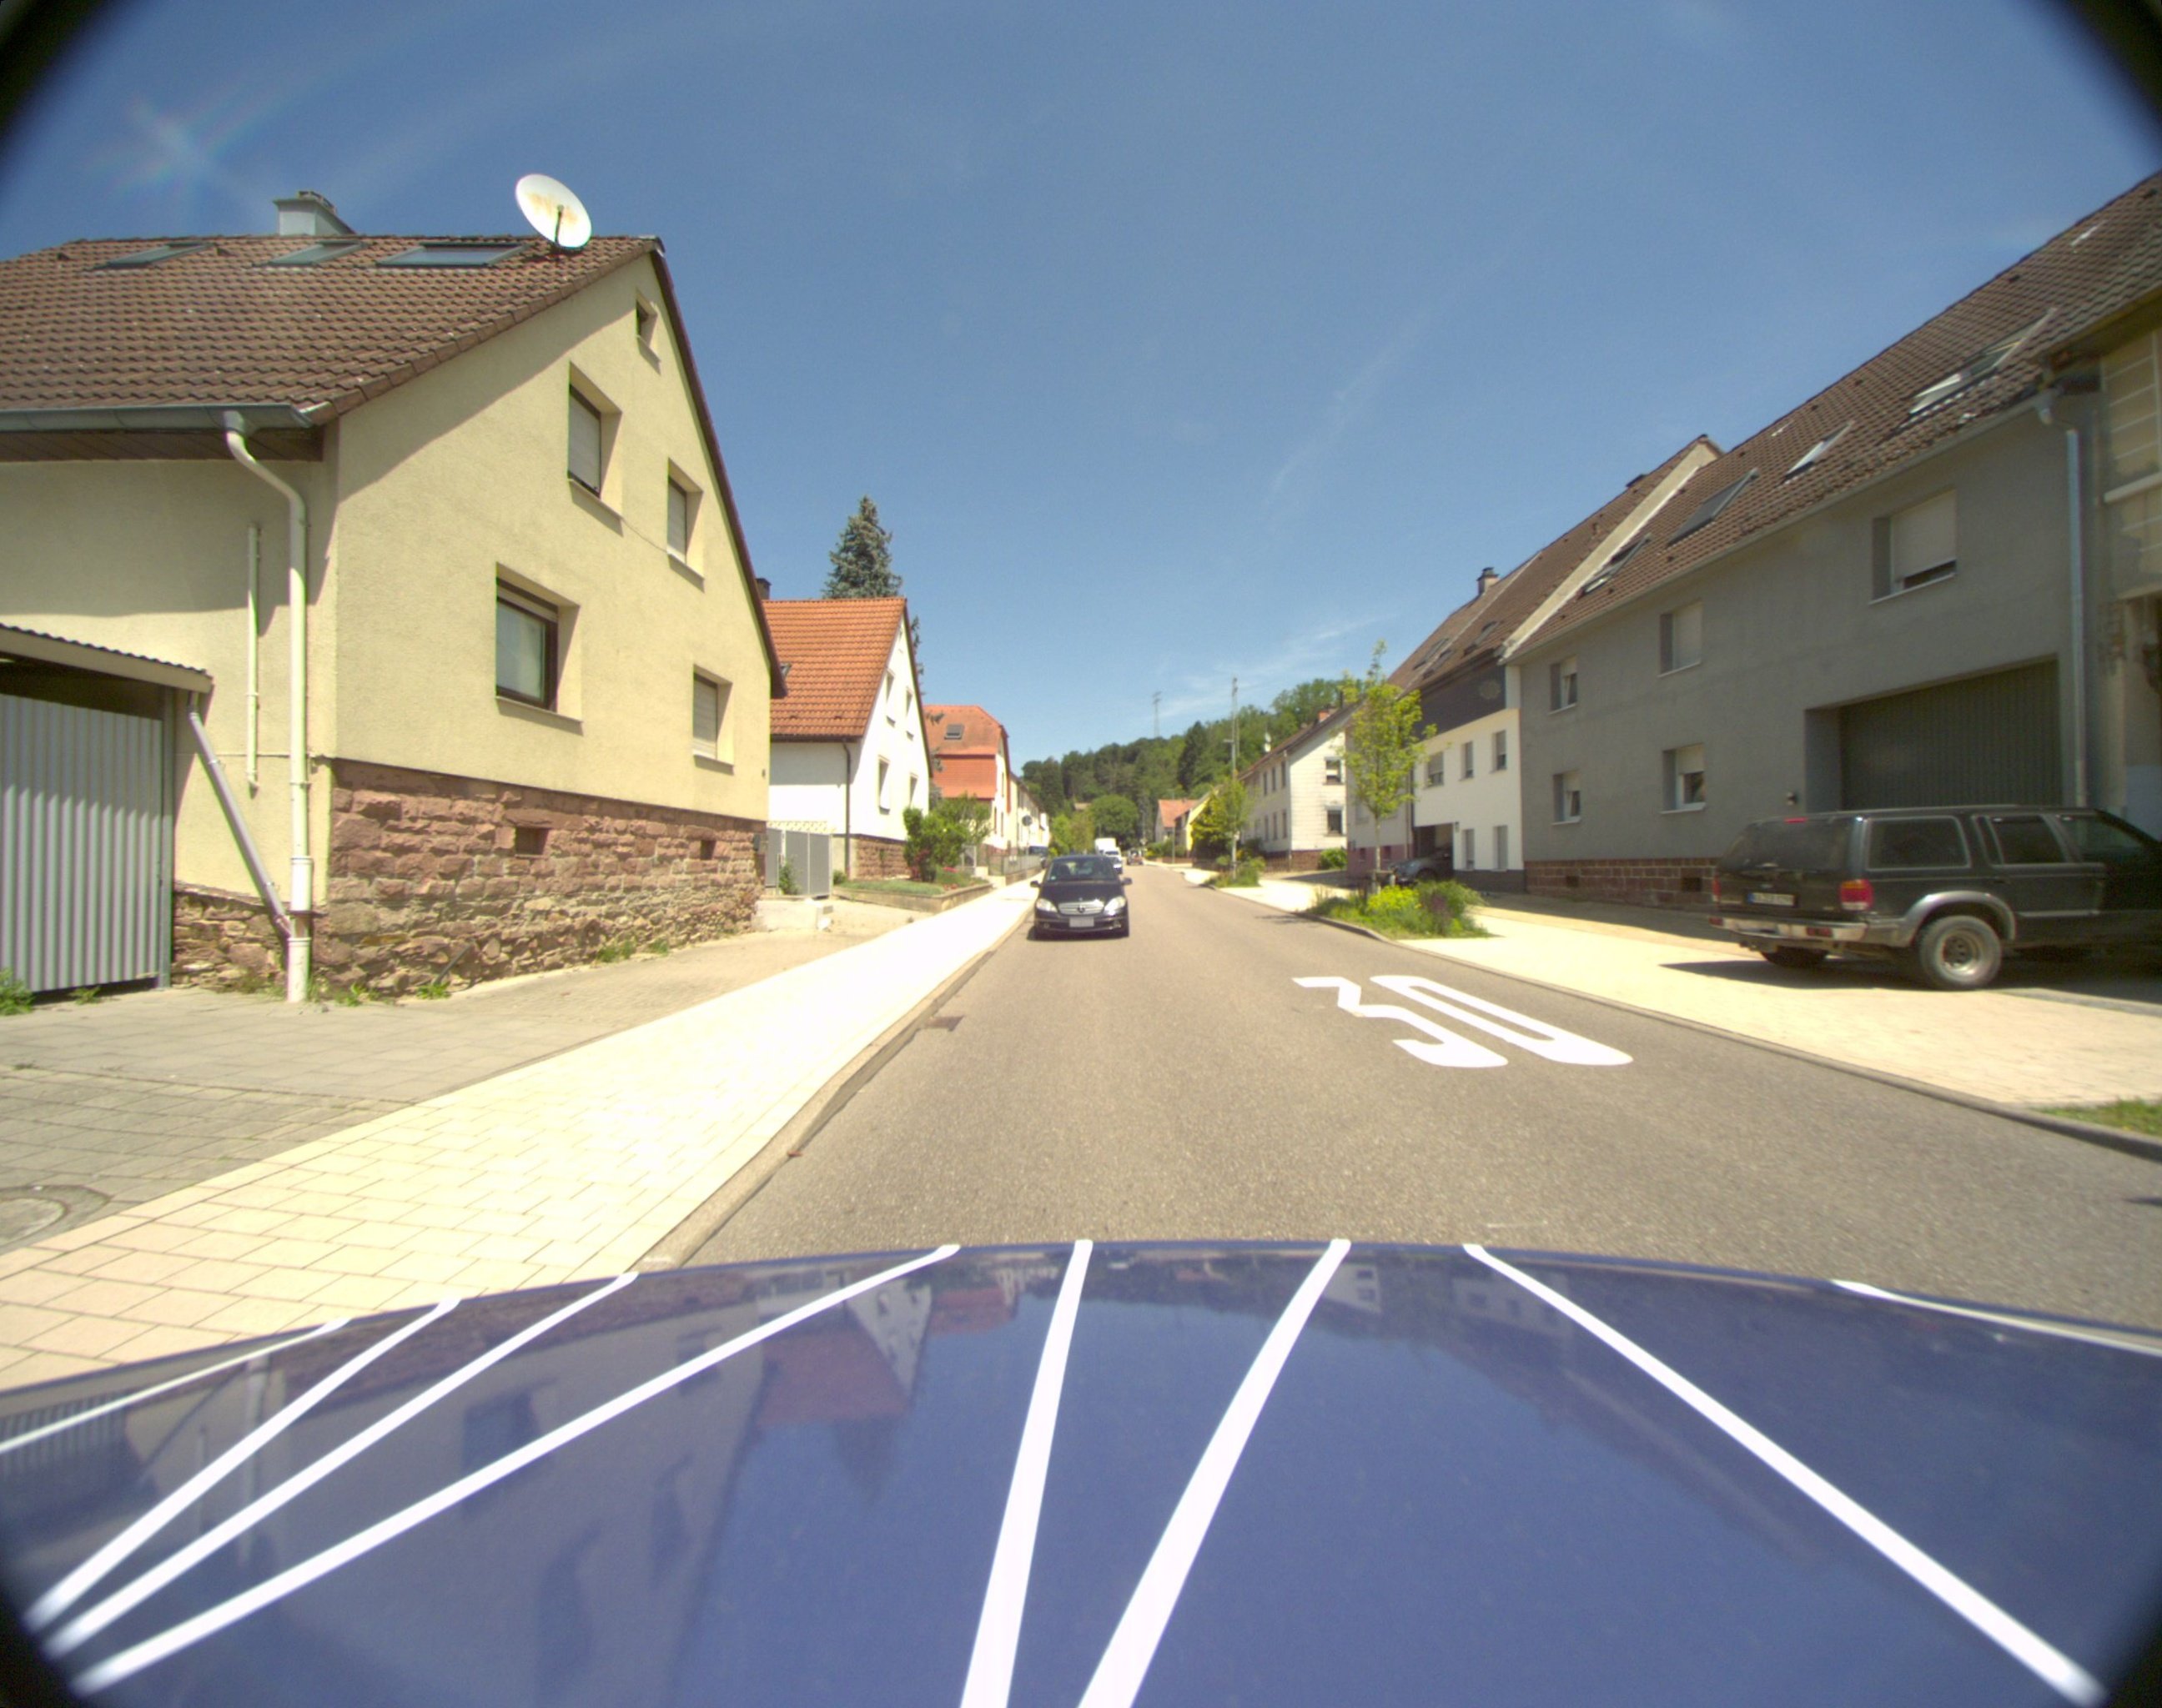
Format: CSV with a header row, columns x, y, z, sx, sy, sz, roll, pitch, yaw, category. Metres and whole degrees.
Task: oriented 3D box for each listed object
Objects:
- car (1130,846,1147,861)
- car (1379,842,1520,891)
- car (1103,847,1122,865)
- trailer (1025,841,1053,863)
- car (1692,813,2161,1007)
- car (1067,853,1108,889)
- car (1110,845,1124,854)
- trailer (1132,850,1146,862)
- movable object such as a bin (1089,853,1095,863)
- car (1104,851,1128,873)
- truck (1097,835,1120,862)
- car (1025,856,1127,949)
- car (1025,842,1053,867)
x,y,z,sx,sy,sz,roll,pitch,yaw,category
7.182,-0.054,95.922,1.894,1.850,4.578,-2,0,2,car
12.811,0.425,26.595,3.996,1.536,1.832,-2,0,1,car
3.280,0.162,79.421,1.968,1.823,4.465,0,1,2,car
-3.927,-0.205,71.246,1.320,2.002,2.278,-1,1,43,trailer
9.366,0.500,7.964,4.406,1.740,1.878,-1,1,0,car
0.361,0.765,36.481,1.714,1.595,3.880,-2,0,3,car
7.858,-0.974,167.111,1.706,1.938,3.993,-2,1,-17,car
6.967,0.212,91.669,1.578,1.388,4.403,-1,0,3,trailer
1.472,0.503,104.218,0.794,1.387,0.925,-2,1,-2,movable object such as a bin
2.743,0.582,59.388,1.714,1.595,3.880,-2,0,3,car
3.687,-0.729,103.176,2.805,3.394,8.120,-2,0,2,truck
0.009,0.874,15.630,1.790,1.595,4.076,-1,0,3,car
-3.598,0.018,66.162,1.856,1.959,4.773,6,1,2,car
